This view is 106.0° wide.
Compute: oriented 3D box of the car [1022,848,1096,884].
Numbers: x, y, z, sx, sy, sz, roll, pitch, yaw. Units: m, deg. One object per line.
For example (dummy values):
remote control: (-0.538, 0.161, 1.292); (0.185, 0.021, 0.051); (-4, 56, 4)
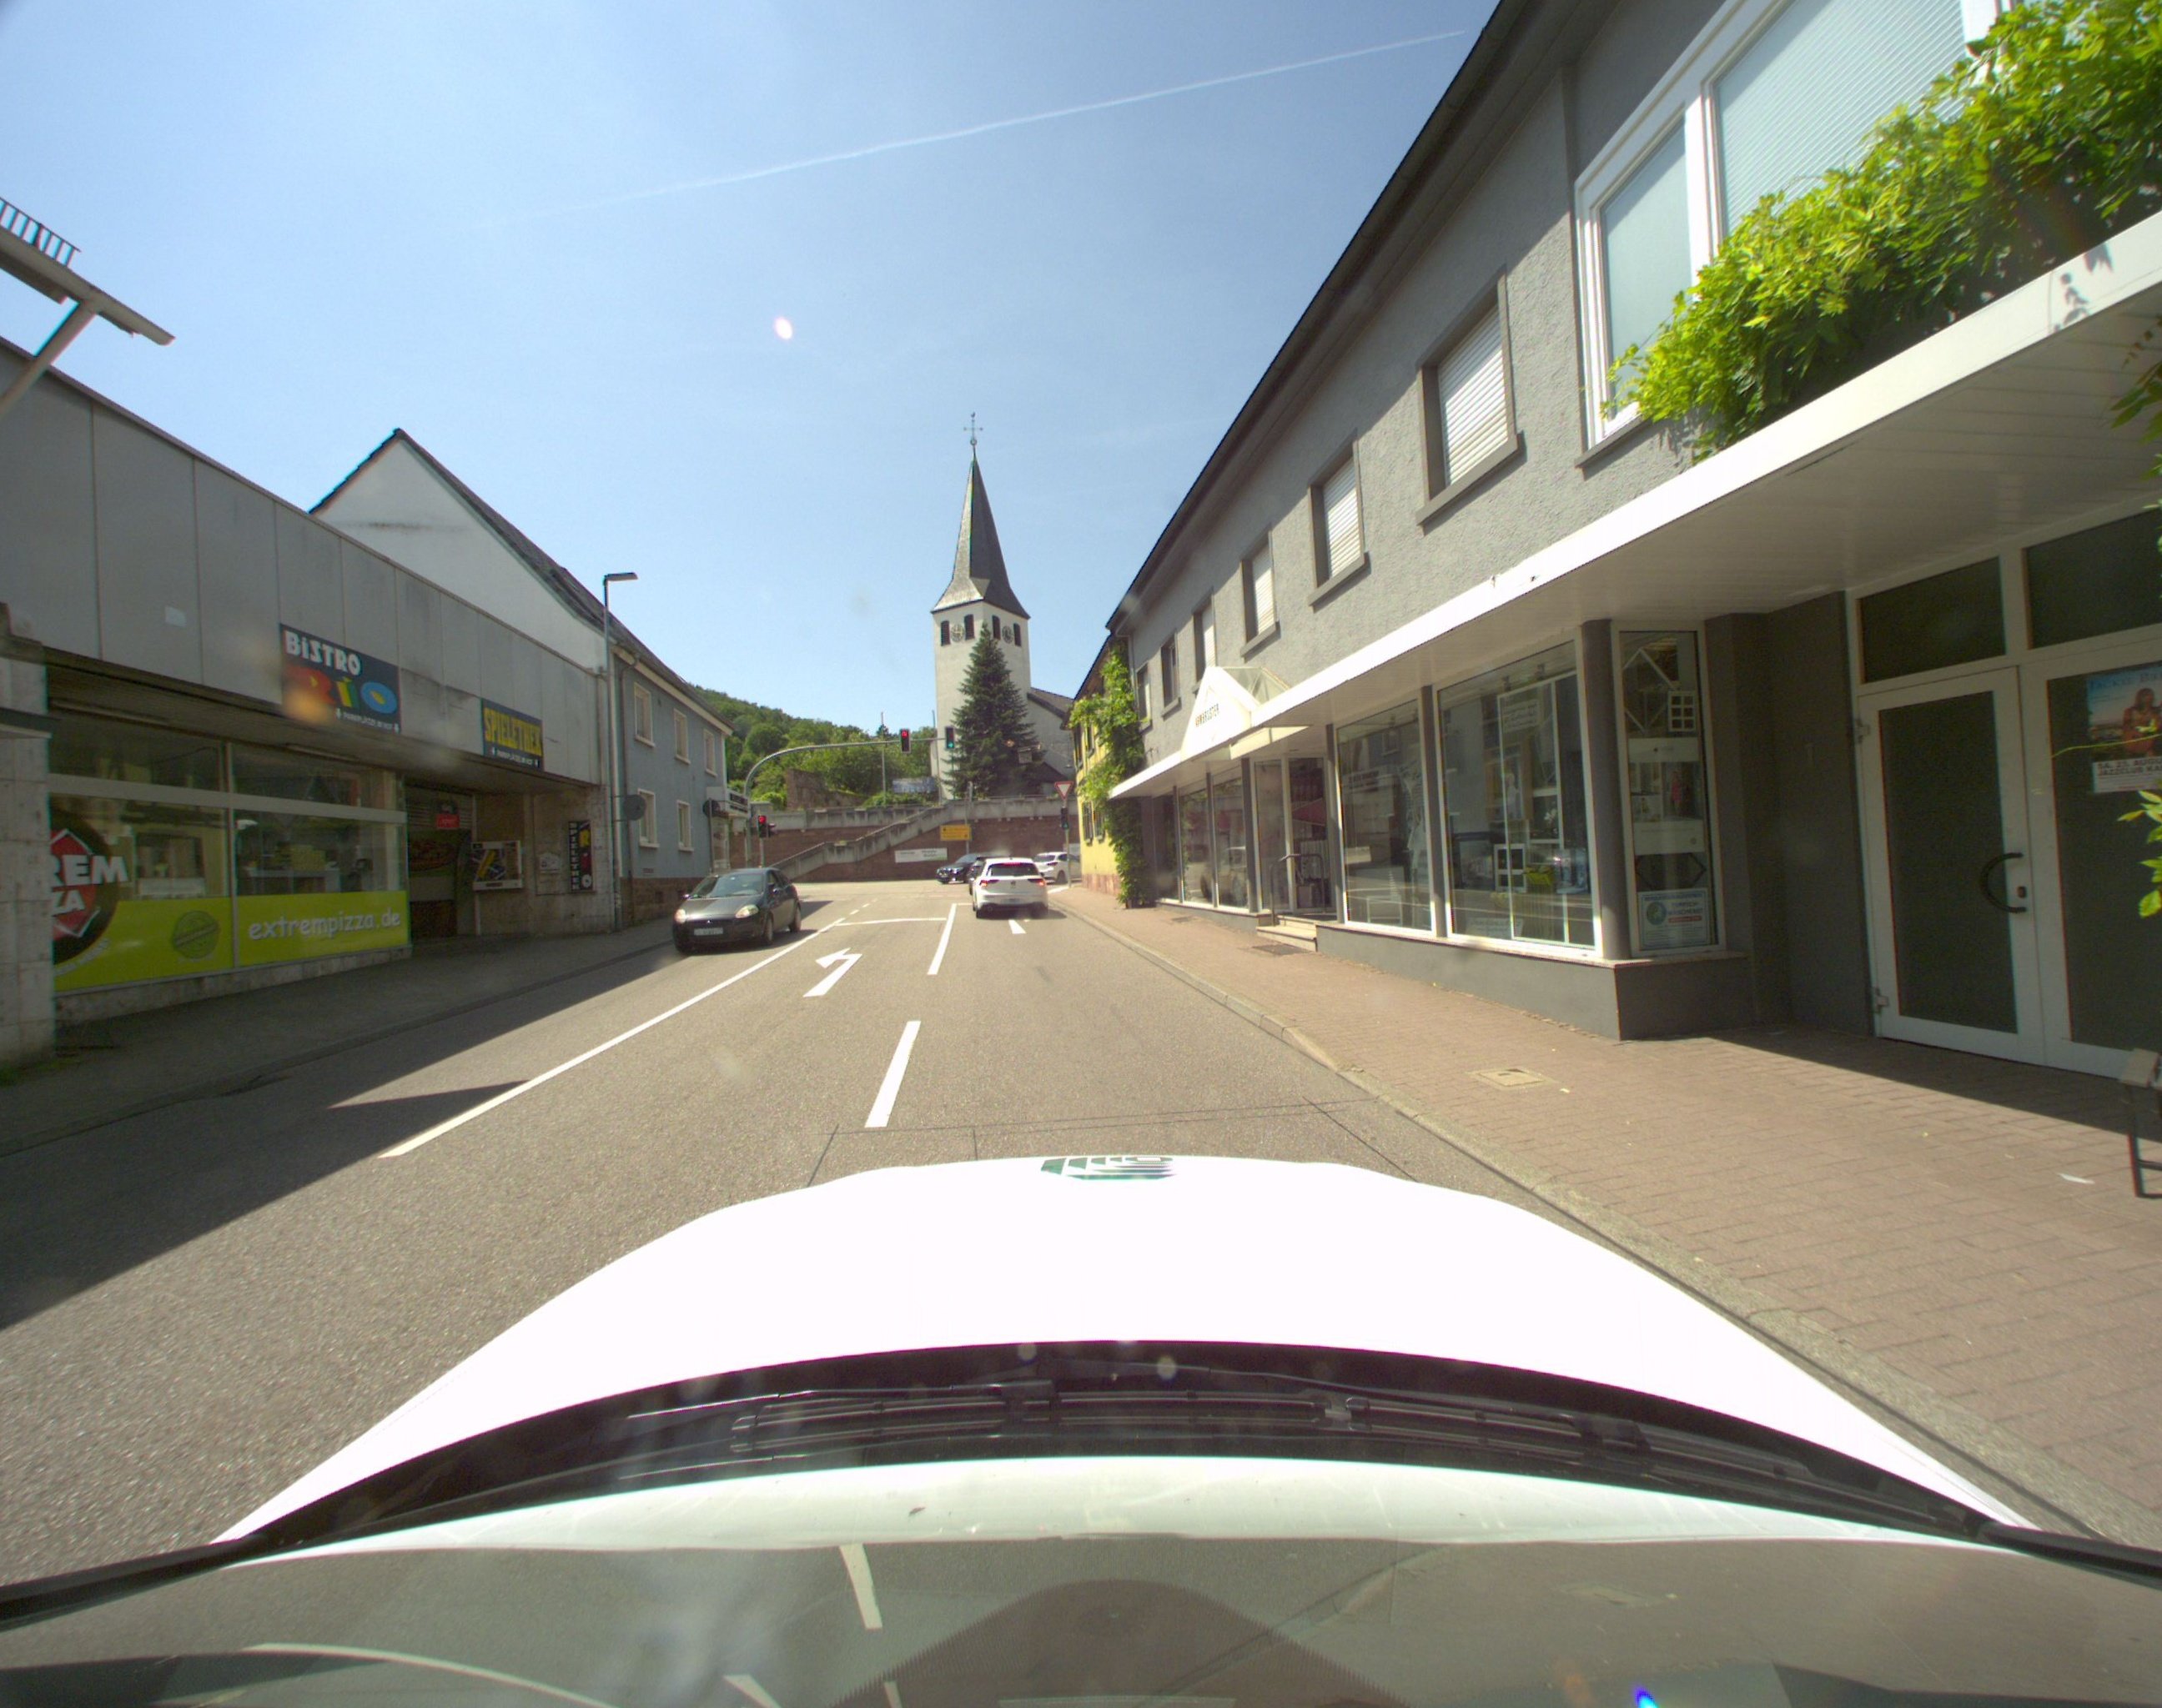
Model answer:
car: (-0.974, 0.539, 39.179); (1.754, 1.496, 4.012); (-1, 2, 28)

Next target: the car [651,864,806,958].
car: (-6.820, 1.020, 16.196); (1.716, 1.422, 3.811); (-4, 1, -7)

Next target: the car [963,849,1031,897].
car: (-3.224, 0.695, 32.024); (1.941, 1.582, 4.330); (-2, 2, 3)

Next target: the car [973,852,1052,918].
car: (-1.830, 0.742, 20.950); (1.781, 1.458, 3.853); (-2, 0, -7)

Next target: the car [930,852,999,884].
car: (-6.076, 0.707, 43.110); (1.783, 1.487, 4.817); (-2, 0, 15)
